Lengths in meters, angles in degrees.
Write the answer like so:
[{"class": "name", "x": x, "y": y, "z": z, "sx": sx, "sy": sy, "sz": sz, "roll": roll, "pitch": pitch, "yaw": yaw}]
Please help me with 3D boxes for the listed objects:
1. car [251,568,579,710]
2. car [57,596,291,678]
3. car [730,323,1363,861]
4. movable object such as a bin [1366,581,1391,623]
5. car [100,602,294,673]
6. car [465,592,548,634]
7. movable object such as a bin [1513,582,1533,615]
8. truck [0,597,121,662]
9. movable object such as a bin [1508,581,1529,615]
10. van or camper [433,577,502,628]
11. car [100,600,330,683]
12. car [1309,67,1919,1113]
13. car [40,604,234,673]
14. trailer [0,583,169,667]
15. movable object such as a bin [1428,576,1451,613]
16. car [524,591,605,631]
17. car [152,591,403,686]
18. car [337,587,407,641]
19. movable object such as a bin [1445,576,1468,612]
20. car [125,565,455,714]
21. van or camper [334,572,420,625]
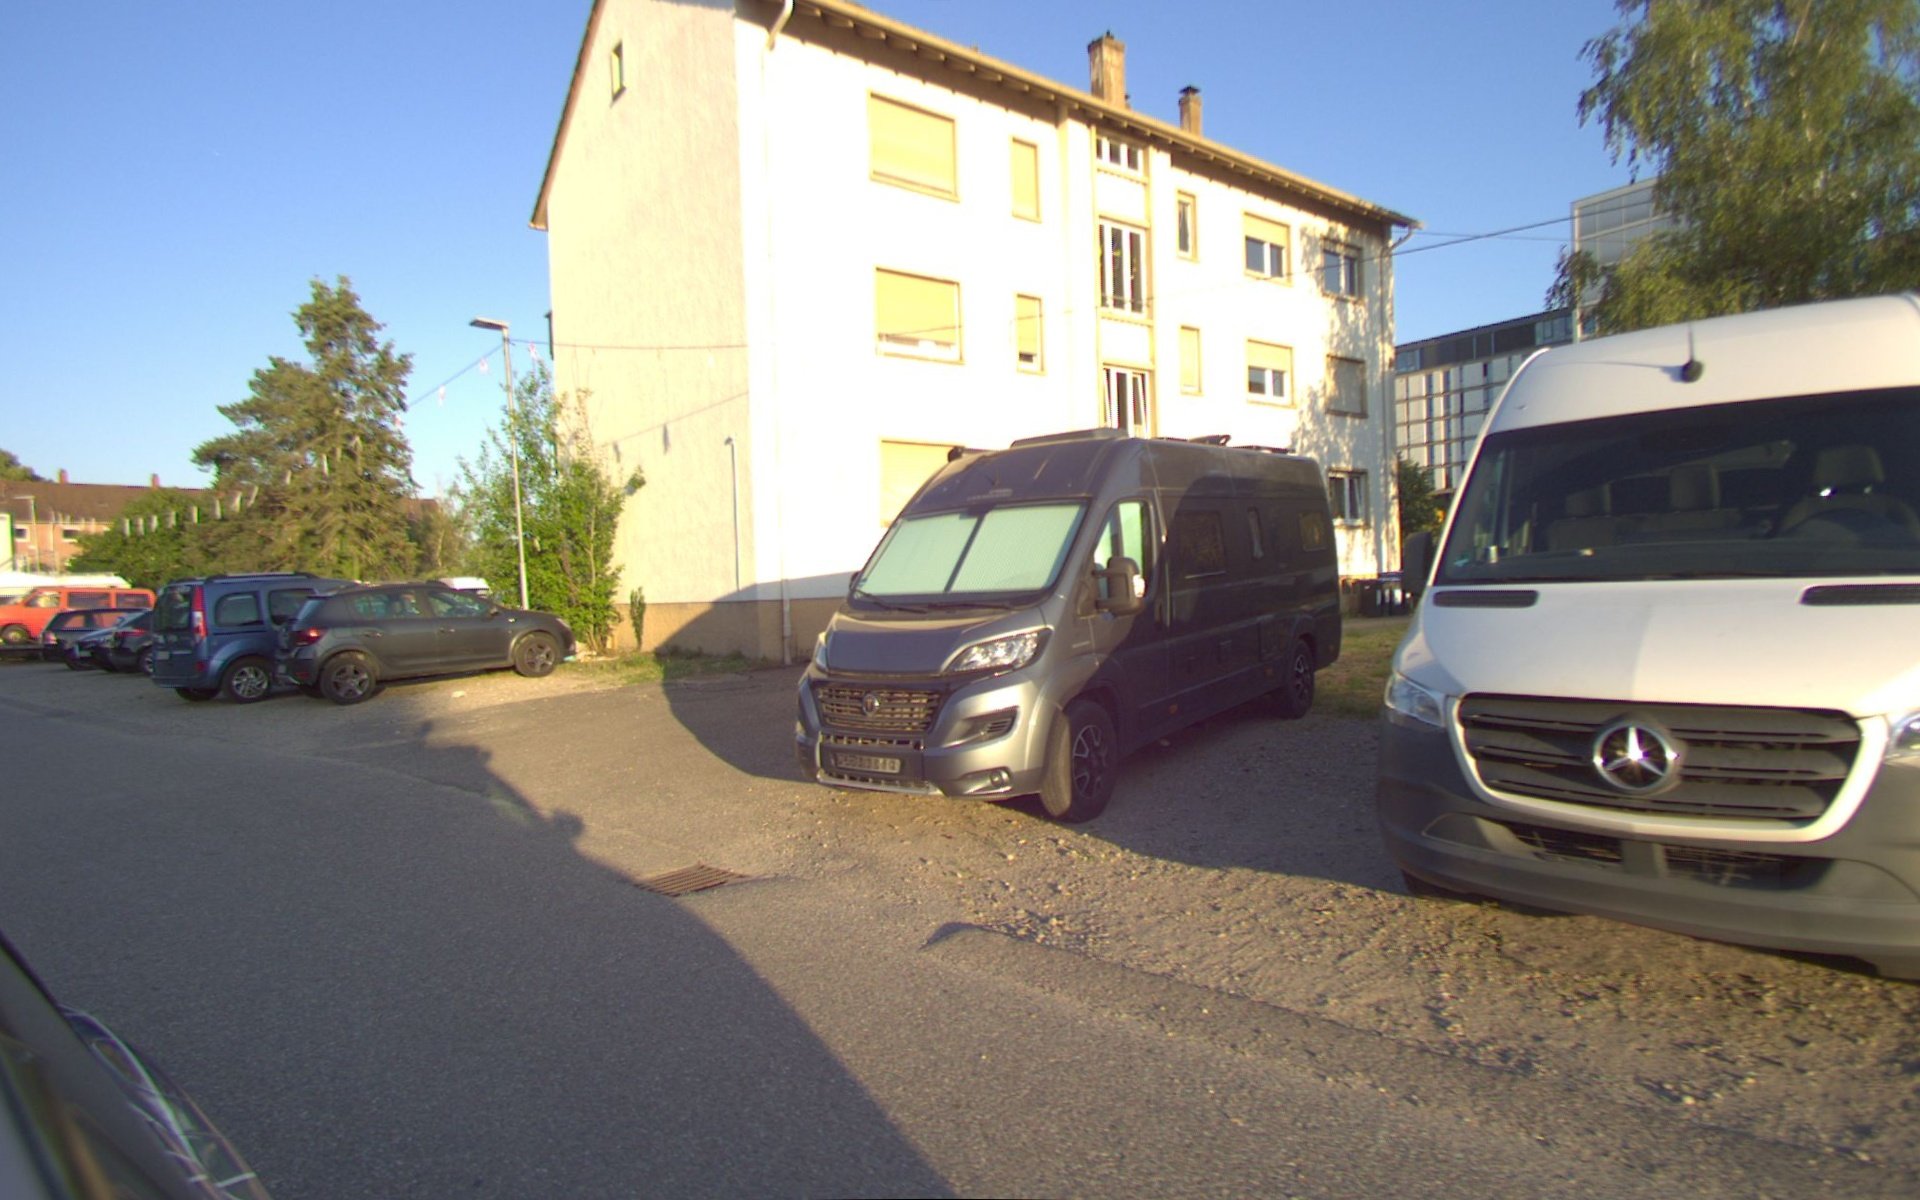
[{"class": "car", "x": -7.964, "y": 0.473, "z": 15.013, "sx": 3.881, "sy": 1.664, "sz": 1.749, "roll": -5, "pitch": 3, "yaw": -45}, {"class": "car", "x": -18.427, "y": 0.838, "z": 23.872, "sx": 1.819, "sy": 1.640, "sz": 4.048, "roll": -4, "pitch": -1, "yaw": 40}, {"class": "car", "x": 1.320, "y": -0.227, "z": 8.321, "sx": 2.109, "sy": 2.733, "sz": 6.331, "roll": 0, "pitch": 3, "yaw": 37}, {"class": "movable object such as a bin", "x": 9.818, "y": 0.049, "z": 23.740, "sx": 0.441, "sy": 0.975, "sz": 0.322, "roll": -2, "pitch": 0, "yaw": 39}, {"class": "car", "x": -20.231, "y": 0.961, "z": 26.911, "sx": 3.880, "sy": 1.532, "sz": 1.810, "roll": -4, "pitch": 1, "yaw": -44}, {"class": "car", "x": -19.463, "y": 0.565, "z": 43.389, "sx": 3.939, "sy": 1.681, "sz": 1.823, "roll": -1, "pitch": 1, "yaw": 43}, {"class": "movable object such as a bin", "x": 15.673, "y": -0.041, "z": 28.169, "sx": 0.441, "sy": 0.921, "sz": 0.322, "roll": -2, "pitch": 0, "yaw": 39}, {"class": "truck", "x": -32.692, "y": 1.058, "z": 34.478, "sx": 2.354, "sy": 2.058, "sz": 5.951, "roll": -1, "pitch": 1, "yaw": 40}, {"class": "movable object such as a bin", "x": 15.401, "y": -0.065, "z": 27.918, "sx": 0.441, "sy": 0.921, "sz": 0.322, "roll": -2, "pitch": 0, "yaw": 39}, {"class": "van or camper", "x": -28.321, "y": 0.155, "z": 58.096, "sx": 2.175, "sy": 2.728, "sz": 5.757, "roll": -3, "pitch": 1, "yaw": -40}, {"class": "car", "x": -16.335, "y": 0.829, "z": 22.314, "sx": 3.879, "sy": 1.528, "sz": 1.645, "roll": -3, "pitch": 2, "yaw": -44}, {"class": "car", "x": 3.967, "y": -0.173, "z": 5.184, "sx": 2.049, "sy": 2.733, "sz": 5.767, "roll": -2, "pitch": 2, "yaw": 41}, {"class": "car", "x": -22.721, "y": 1.006, "z": 28.023, "sx": 3.989, "sy": 1.632, "sz": 1.851, "roll": -3, "pitch": 1, "yaw": -44}, {"class": "trailer", "x": -29.652, "y": 0.760, "z": 33.808, "sx": 2.135, "sy": 2.450, "sz": 4.739, "roll": 1, "pitch": 3, "yaw": 44}, {"class": "movable object such as a bin", "x": 12.239, "y": -0.138, "z": 25.837, "sx": 0.441, "sy": 0.921, "sz": 0.322, "roll": -2, "pitch": 0, "yaw": 39}, {"class": "car", "x": -17.753, "y": 0.488, "z": 45.379, "sx": 3.939, "sy": 1.681, "sz": 1.823, "roll": -1, "pitch": 1, "yaw": 43}, {"class": "car", "x": -13.583, "y": 0.710, "z": 20.300, "sx": 1.643, "sy": 1.592, "sz": 3.883, "roll": -2, "pitch": 0, "yaw": 43}, {"class": "car", "x": -27.161, "y": 0.681, "z": 46.638, "sx": 1.821, "sy": 2.165, "sz": 4.828, "roll": -3, "pitch": -1, "yaw": -41}, {"class": "movable object such as a bin", "x": 12.791, "y": -0.152, "z": 26.083, "sx": 0.441, "sy": 0.921, "sz": 0.322, "roll": -2, "pitch": 0, "yaw": 39}, {"class": "car", "x": -10.373, "y": 0.512, "z": 15.983, "sx": 1.741, "sy": 1.925, "sz": 3.900, "roll": -2, "pitch": 2, "yaw": 30}, {"class": "van or camper", "x": -32.685, "y": -0.044, "z": 56.695, "sx": 5.795, "sy": 2.791, "sz": 2.233, "roll": -1, "pitch": 1, "yaw": 40}]
